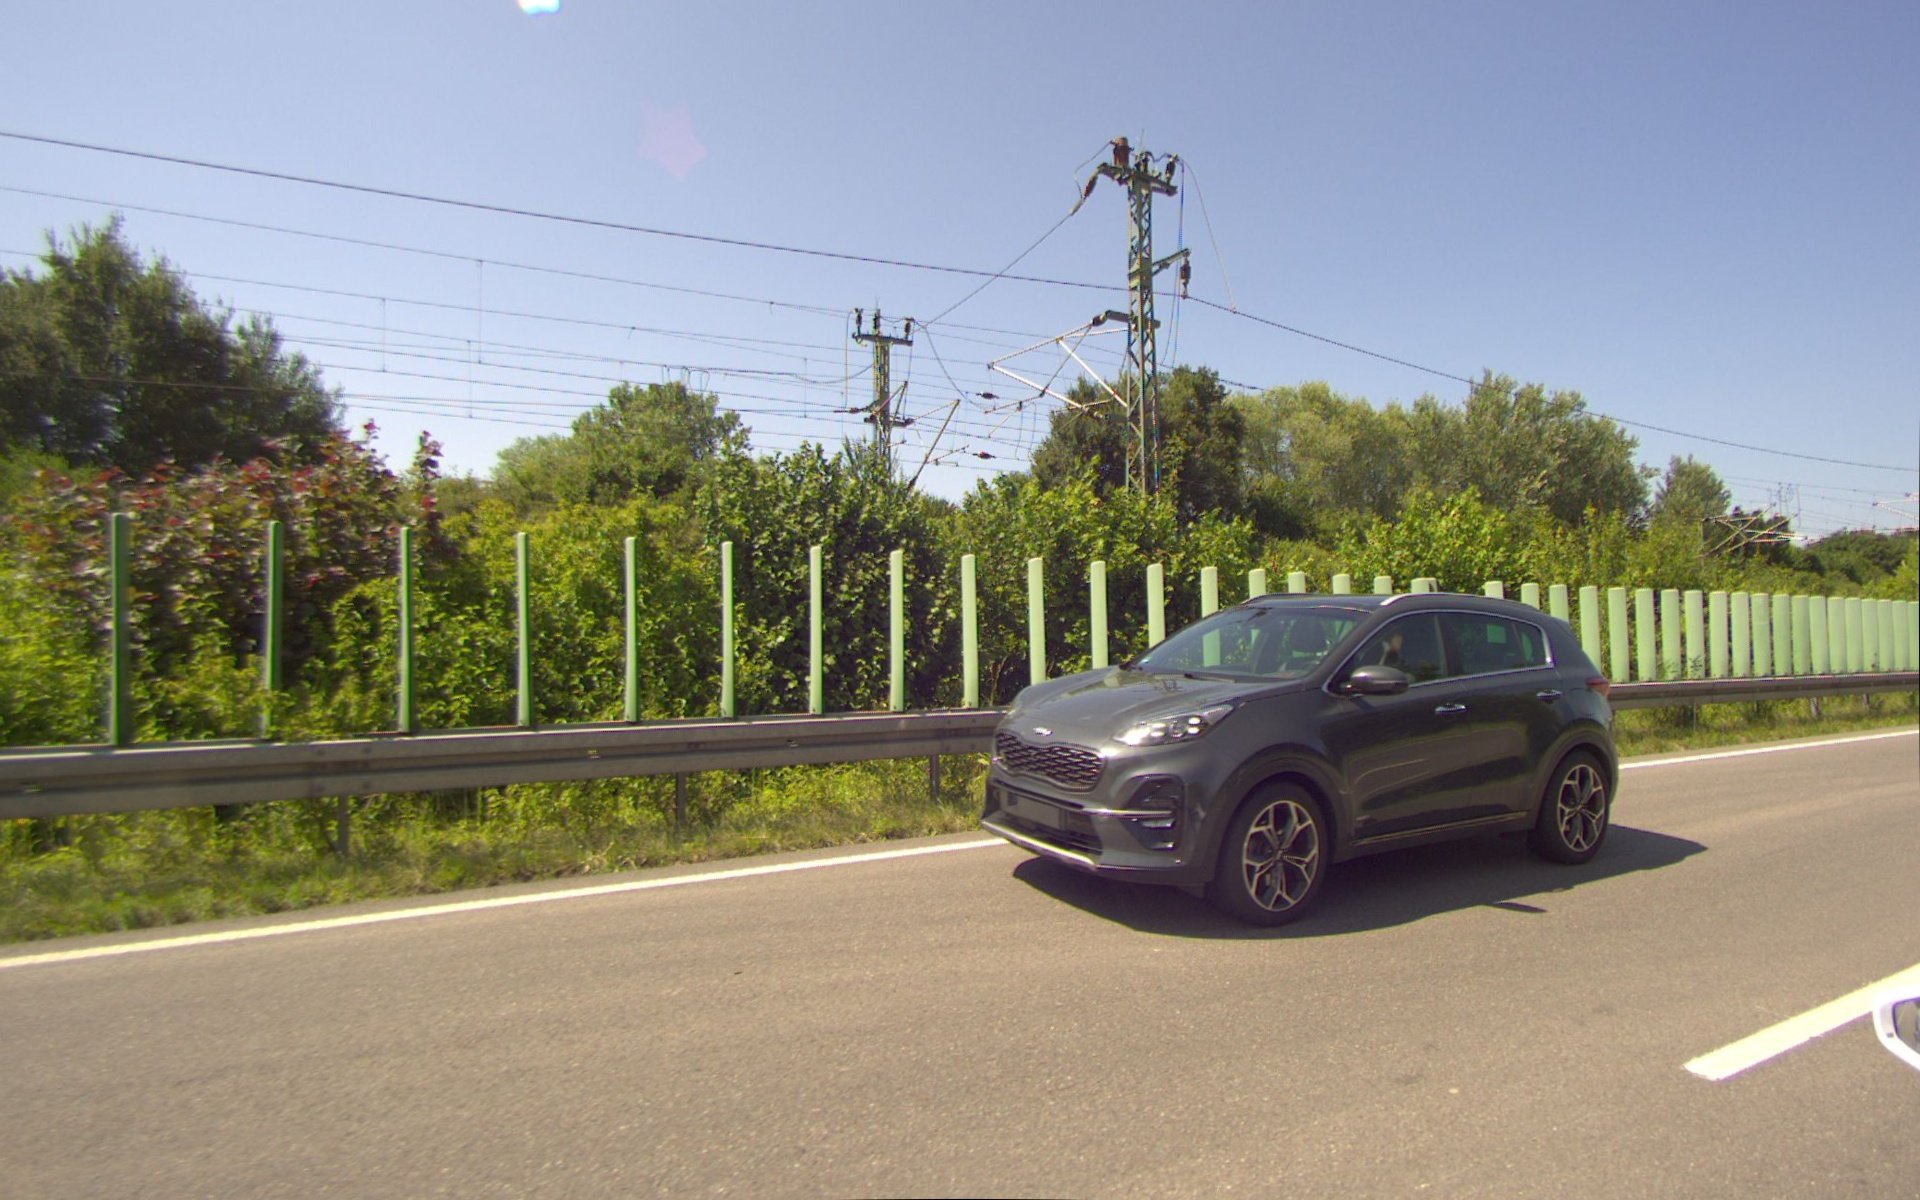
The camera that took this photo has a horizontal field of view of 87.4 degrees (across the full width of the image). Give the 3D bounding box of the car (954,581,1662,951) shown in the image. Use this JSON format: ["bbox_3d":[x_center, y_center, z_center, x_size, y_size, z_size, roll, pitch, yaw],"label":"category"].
[{"bbox_3d":[2.275,0.766,6.252,4.319,1.608,1.793,1,-1,-30],"label":"car"}]
